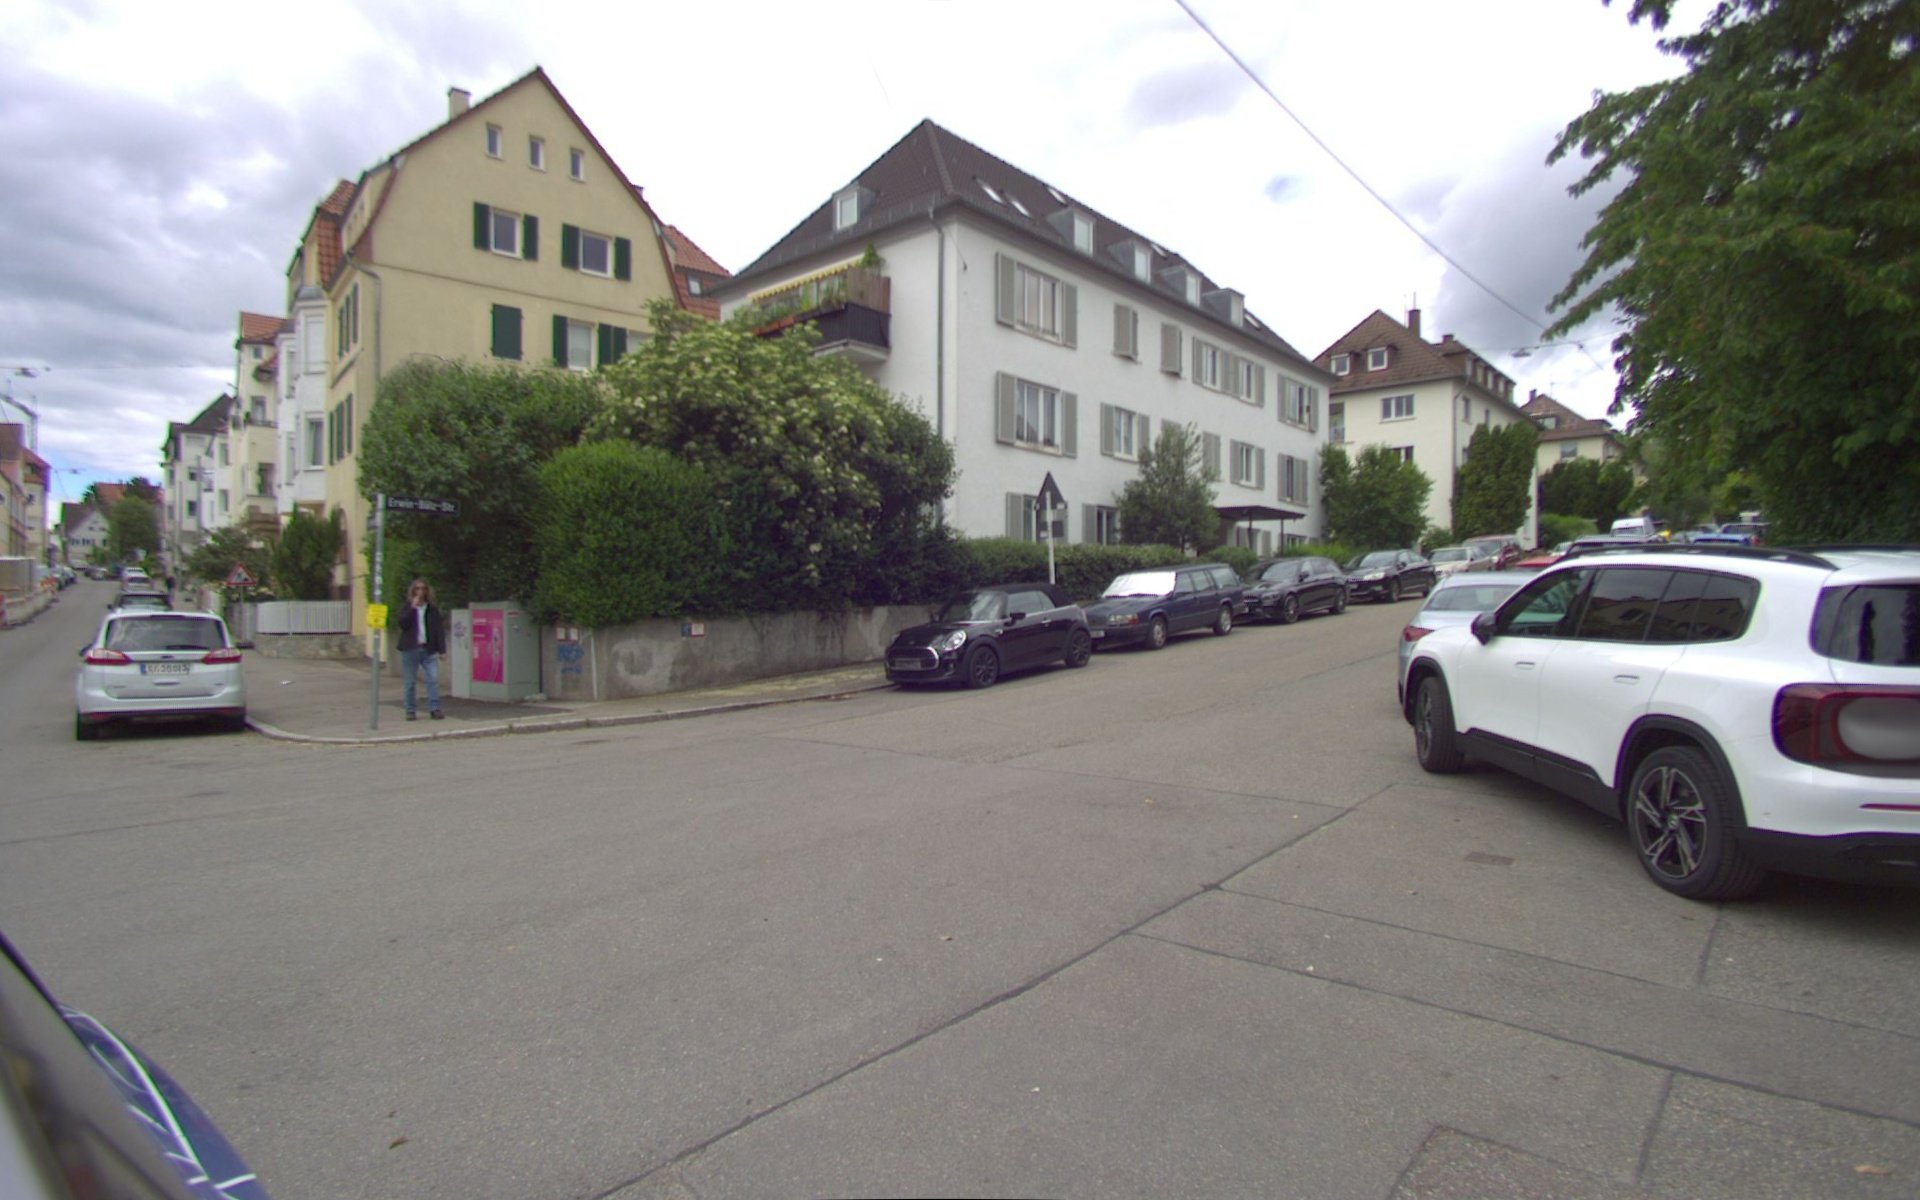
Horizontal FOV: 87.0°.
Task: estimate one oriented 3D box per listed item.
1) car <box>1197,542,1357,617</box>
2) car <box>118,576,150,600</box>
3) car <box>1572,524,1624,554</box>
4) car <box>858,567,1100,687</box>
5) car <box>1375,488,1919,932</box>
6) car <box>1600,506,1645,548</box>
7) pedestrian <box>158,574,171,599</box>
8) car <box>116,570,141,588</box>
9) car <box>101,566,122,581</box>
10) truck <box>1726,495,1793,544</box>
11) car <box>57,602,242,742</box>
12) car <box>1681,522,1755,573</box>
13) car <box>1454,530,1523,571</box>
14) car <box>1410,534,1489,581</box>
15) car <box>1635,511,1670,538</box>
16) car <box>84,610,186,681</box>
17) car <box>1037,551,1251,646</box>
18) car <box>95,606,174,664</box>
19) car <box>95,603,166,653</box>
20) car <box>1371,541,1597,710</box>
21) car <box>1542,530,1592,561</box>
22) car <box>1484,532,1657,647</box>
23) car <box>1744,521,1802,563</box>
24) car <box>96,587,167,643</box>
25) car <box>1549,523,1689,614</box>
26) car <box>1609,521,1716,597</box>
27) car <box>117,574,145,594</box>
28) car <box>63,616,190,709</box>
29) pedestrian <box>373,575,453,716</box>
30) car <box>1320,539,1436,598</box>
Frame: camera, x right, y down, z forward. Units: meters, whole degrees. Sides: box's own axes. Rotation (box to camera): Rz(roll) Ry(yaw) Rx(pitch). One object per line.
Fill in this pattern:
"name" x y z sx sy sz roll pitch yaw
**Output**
"car" 7.651 -0.531 24.124 1.887 1.493 4.671 -2 3 41
"car" -57.640 -0.853 70.671 1.637 1.578 4.008 1 2 -38
"car" 35.198 -3.382 55.776 1.792 1.428 4.177 -2 3 41
"car" 0.389 0.352 15.820 1.787 1.534 3.669 -3 1 41
"car" 4.259 0.346 6.033 1.810 1.668 4.511 -2 1 2
"car" 41.798 -4.574 63.788 1.973 2.417 4.637 -2 2 38
"pedestrian" -52.149 -0.890 66.339 0.608 1.669 0.814 -1 1 -39
"car" -78.442 -1.953 95.521 1.755 1.578 4.008 1 2 -38
"car" -96.862 -3.021 115.576 1.755 1.578 4.008 0 2 -38
"truck" 42.791 -4.319 54.149 2.430 2.375 4.834 0 4 43
"car" -11.435 0.918 14.272 1.781 1.672 4.158 1 -2 -40
"car" 24.362 -1.716 32.478 1.632 1.477 3.972 -1 3 41
"car" 20.098 -1.902 38.436 1.540 1.398 3.333 -1 3 41
"car" 16.680 -1.462 34.417 1.540 1.398 3.504 -1 3 41
"car" 52.026 -5.695 75.986 1.766 1.878 3.947 -1 3 41
"car" -20.197 1.044 24.772 1.780 1.491 4.336 1 0 -40
"car" 3.734 -0.085 19.871 1.888 1.493 4.669 -2 3 42
"car" -23.657 0.968 28.981 1.618 1.439 4.130 2 0 -40
"car" -26.696 0.876 32.564 1.618 1.409 3.710 3 -1 -40
"car" 6.091 0.147 11.464 1.829 1.448 4.465 -2 3 33
"car" 30.227 -2.717 50.371 1.540 1.398 3.333 -1 3 41
"car" 9.374 -0.226 15.416 1.632 1.447 3.738 -1 3 41
"car" 31.709 -2.291 39.442 1.632 1.477 3.972 -1 3 41
"car" -29.921 0.515 36.510 1.728 1.810 4.155 2 0 -42
"car" 13.097 -0.675 19.998 1.763 1.561 4.194 -1 3 41
"car" 16.591 -1.007 23.826 1.632 1.561 3.973 -1 3 41
"car" -69.178 -1.339 84.467 1.755 1.578 4.008 1 2 -38
"car" -15.162 1.080 18.428 1.587 1.464 3.620 3 -2 -40
"pedestrian" -7.190 0.584 13.307 0.822 1.773 0.635 -2 0 42
"car" 12.060 -0.936 29.065 1.792 1.428 4.233 -2 3 41
